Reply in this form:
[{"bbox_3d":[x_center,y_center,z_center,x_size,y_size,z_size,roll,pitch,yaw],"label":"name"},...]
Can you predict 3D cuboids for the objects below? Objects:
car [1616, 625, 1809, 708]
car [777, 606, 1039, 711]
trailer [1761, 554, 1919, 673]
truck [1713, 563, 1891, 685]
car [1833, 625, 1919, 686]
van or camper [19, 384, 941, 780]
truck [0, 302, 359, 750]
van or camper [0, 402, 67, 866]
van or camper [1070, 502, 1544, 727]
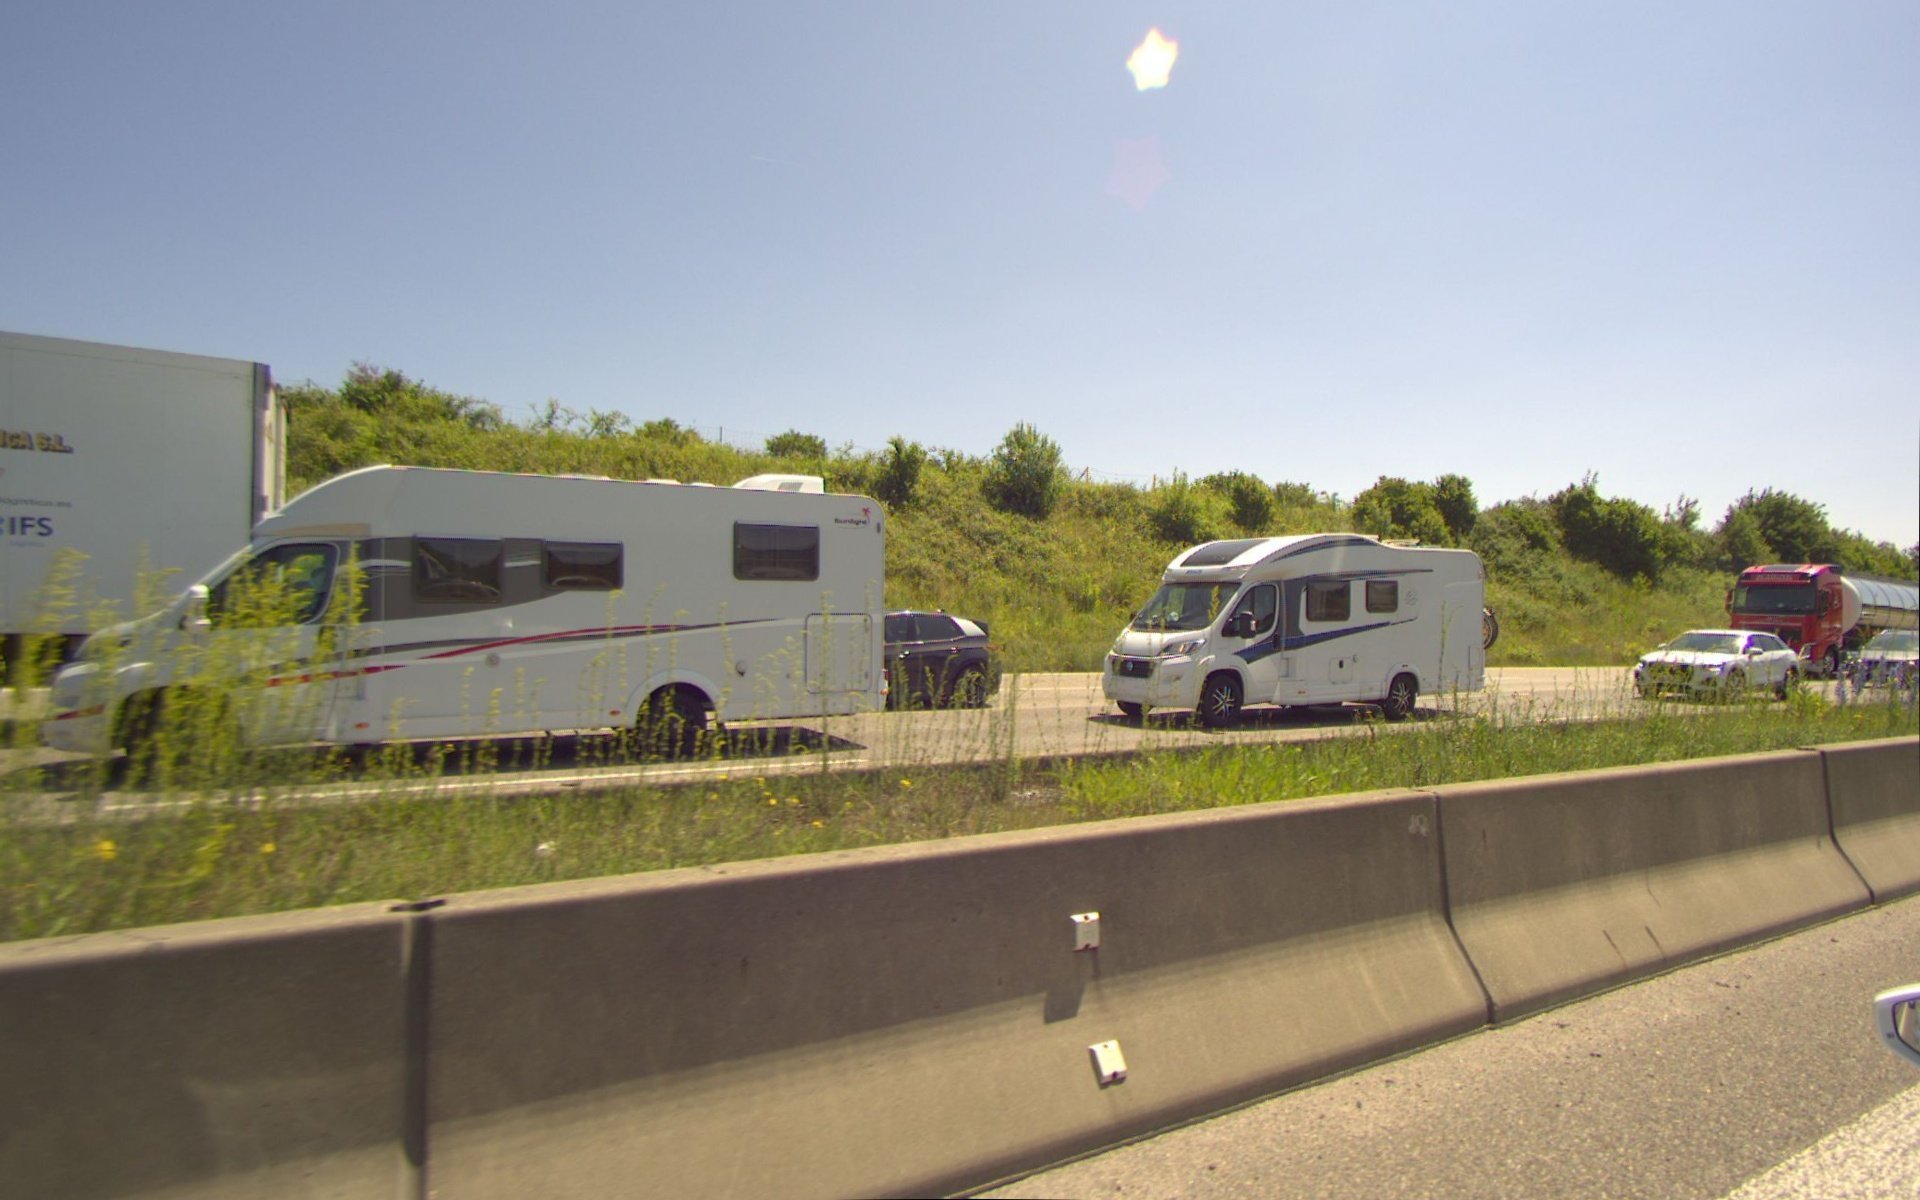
[{"bbox_3d":[16.553,1.426,22.060,4.307,1.649,1.873,2,-1,-30],"label":"car"},{"bbox_3d":[-0.806,0.914,16.235,3.881,1.516,1.686,2,-1,-30],"label":"car"},{"bbox_3d":[34.532,0.684,37.889,12.135,4.001,2.666,2,-4,-31],"label":"trailer"},{"bbox_3d":[28.968,0.837,34.537,5.962,3.874,2.769,2,0,-30],"label":"truck"},{"bbox_3d":[27.168,1.597,28.851,4.729,1.604,1.746,2,-1,-30],"label":"car"},{"bbox_3d":[-4.221,0.004,10.539,7.732,2.975,2.534,2,-1,-29],"label":"van or camper"},{"bbox_3d":[-12.812,-0.846,9.283,12.278,4.383,2.508,2,0,-31],"label":"truck"},{"bbox_3d":[-8.165,0.079,3.459,7.200,2.467,2.285,2,-1,-31],"label":"van or camper"},{"bbox_3d":[5.838,0.336,16.327,8.031,2.975,2.534,2,-1,-29],"label":"van or camper"}]
